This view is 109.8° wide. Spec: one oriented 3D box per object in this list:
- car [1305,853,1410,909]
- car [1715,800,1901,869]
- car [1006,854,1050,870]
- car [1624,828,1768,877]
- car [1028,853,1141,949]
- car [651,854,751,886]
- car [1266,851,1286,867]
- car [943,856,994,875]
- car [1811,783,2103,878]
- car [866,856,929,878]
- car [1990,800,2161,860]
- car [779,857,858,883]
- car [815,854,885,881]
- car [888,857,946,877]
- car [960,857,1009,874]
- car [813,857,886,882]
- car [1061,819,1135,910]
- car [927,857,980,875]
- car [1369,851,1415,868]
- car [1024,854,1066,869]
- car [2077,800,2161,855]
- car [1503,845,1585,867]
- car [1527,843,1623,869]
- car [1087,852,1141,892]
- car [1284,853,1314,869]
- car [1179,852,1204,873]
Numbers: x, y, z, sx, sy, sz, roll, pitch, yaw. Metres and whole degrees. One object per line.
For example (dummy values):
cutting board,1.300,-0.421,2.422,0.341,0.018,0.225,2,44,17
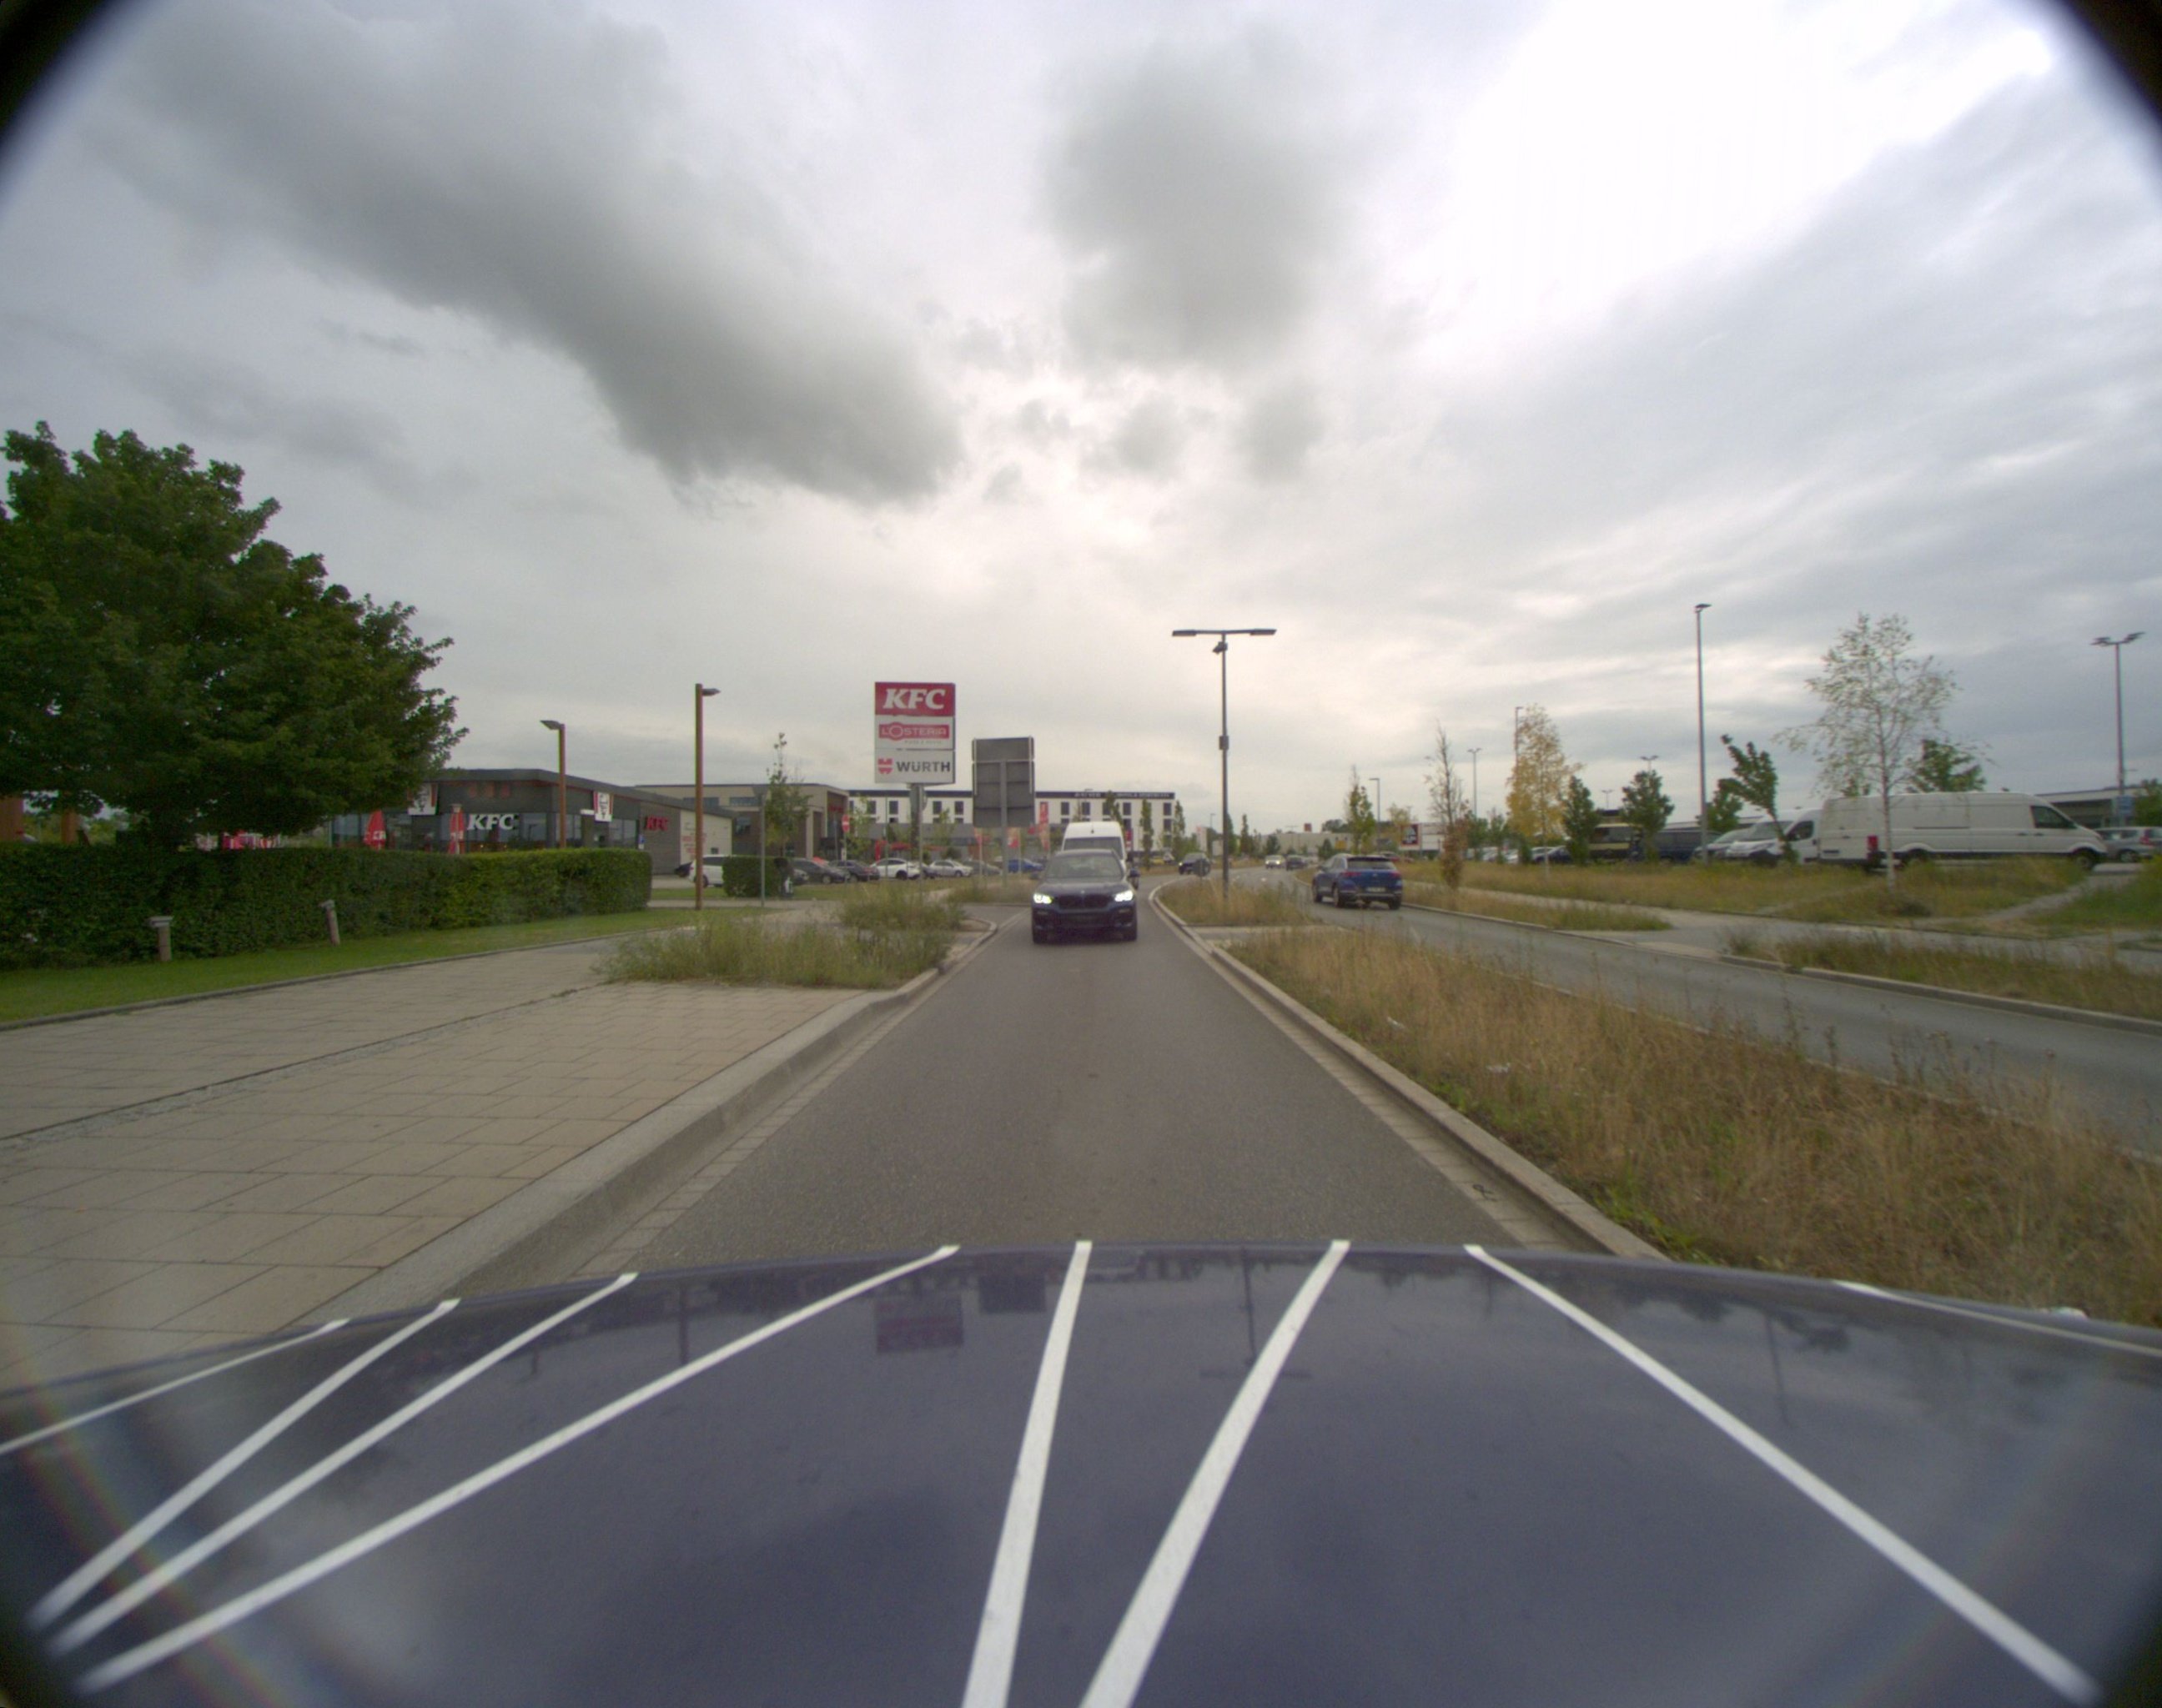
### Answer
car,8.099,0.755,22.633,1.733,1.503,4.000,-1,0,1
car,27.679,-0.736,29.051,5.053,2.359,2.064,-2,1,1
car,-5.437,0.860,77.911,3.992,1.477,1.849,-2,1,18
car,29.535,-0.050,36.635,5.050,2.210,2.066,-1,0,8
car,0.074,0.794,14.706,1.867,1.598,4.000,-1,0,0
car,-18.771,0.788,37.670,3.996,1.519,1.847,-1,0,2
car,21.650,0.528,84.347,1.996,1.660,4.005,-3,-1,16
car,-9.806,1.035,66.396,3.993,1.477,1.849,-2,1,14
car,27.473,-0.700,24.042,6.412,2.609,2.065,-2,1,5
car,-13.149,0.905,54.565,3.994,1.513,1.849,-1,0,9
car,43.534,-1.018,32.997,2.063,2.359,5.057,-2,1,1
car,-15.445,0.944,44.845,3.994,1.477,1.849,-1,0,9
car,-15.440,0.869,50.840,3.994,1.602,1.848,-2,1,9
car,-12.851,1.021,59.573,3.994,1.477,1.848,-1,0,9
car,-8.698,1.075,68.710,3.993,1.477,1.849,-1,0,14
car,-14.517,0.965,47.714,3.994,1.477,1.849,-1,0,9
car,0.485,0.309,24.037,2.026,2.512,6.105,-1,0,0
car,-10.739,1.009,64.129,3.993,1.477,1.849,-1,0,14
car,30.713,0.539,75.113,3.993,1.455,1.738,-2,1,11
car,-3.804,0.778,79.963,3.992,1.477,1.849,-2,1,18
car,46.965,-1.160,32.522,2.063,2.359,5.057,-2,1,1
car,35.748,0.169,58.806,5.049,1.646,2.066,-1,0,11
car,33.331,0.132,51.373,5.049,1.646,2.066,-1,0,11
car,1.574,0.810,34.771,1.997,1.660,4.003,-2,-1,8
car,21.596,0.691,75.067,1.730,1.484,4.008,-1,0,34
car,9.436,0.735,64.536,1.860,1.660,4.004,-2,-1,11
